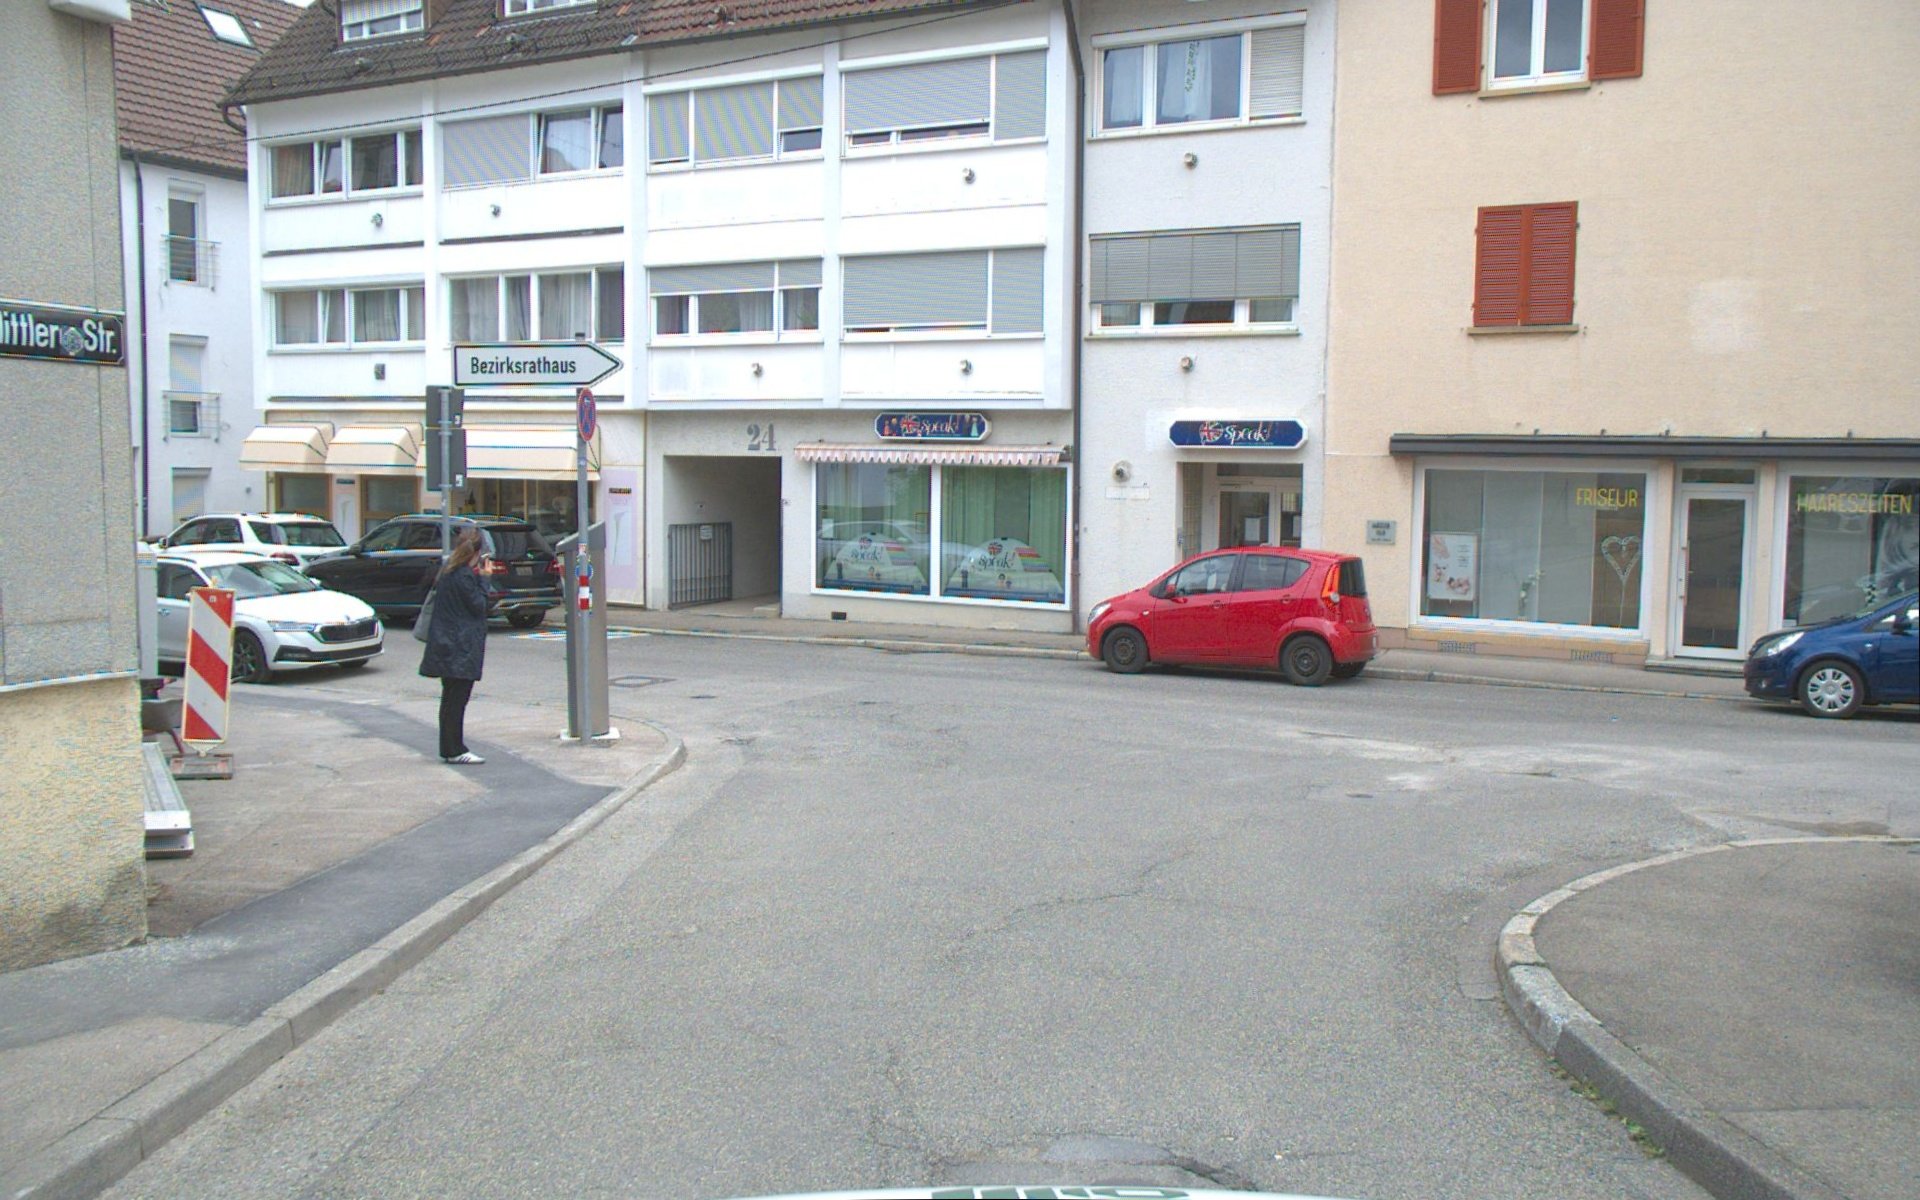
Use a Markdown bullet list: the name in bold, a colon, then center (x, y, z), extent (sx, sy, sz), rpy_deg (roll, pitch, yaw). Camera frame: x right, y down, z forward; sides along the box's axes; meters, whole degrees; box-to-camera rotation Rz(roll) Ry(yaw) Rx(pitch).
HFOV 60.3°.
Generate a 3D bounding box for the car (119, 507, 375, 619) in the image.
- **car**: center (-12.660, -0.718, 29.359), extent (4.280, 1.741, 1.938), rpy_deg (3, 5, 28)

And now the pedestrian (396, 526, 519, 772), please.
- **pedestrian**: center (-3.630, 0.333, 11.965), extent (0.632, 1.714, 0.605), rpy_deg (1, 2, 11)

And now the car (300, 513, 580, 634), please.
- **car**: center (-8.439, -0.497, 26.817), extent (4.273, 1.810, 1.944), rpy_deg (2, 3, 29)

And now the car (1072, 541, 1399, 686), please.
- **car**: center (3.389, 0.097, 20.461), extent (3.615, 1.583, 1.694), rpy_deg (3, 3, 31)

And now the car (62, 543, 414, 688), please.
- **car**: center (-9.178, 0.125, 21.004), extent (4.199, 1.485, 1.798), rpy_deg (2, 7, 27)

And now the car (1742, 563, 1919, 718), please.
- **car**: center (10.099, 0.423, 16.704), extent (3.835, 1.475, 1.694), rpy_deg (3, 2, 30)
